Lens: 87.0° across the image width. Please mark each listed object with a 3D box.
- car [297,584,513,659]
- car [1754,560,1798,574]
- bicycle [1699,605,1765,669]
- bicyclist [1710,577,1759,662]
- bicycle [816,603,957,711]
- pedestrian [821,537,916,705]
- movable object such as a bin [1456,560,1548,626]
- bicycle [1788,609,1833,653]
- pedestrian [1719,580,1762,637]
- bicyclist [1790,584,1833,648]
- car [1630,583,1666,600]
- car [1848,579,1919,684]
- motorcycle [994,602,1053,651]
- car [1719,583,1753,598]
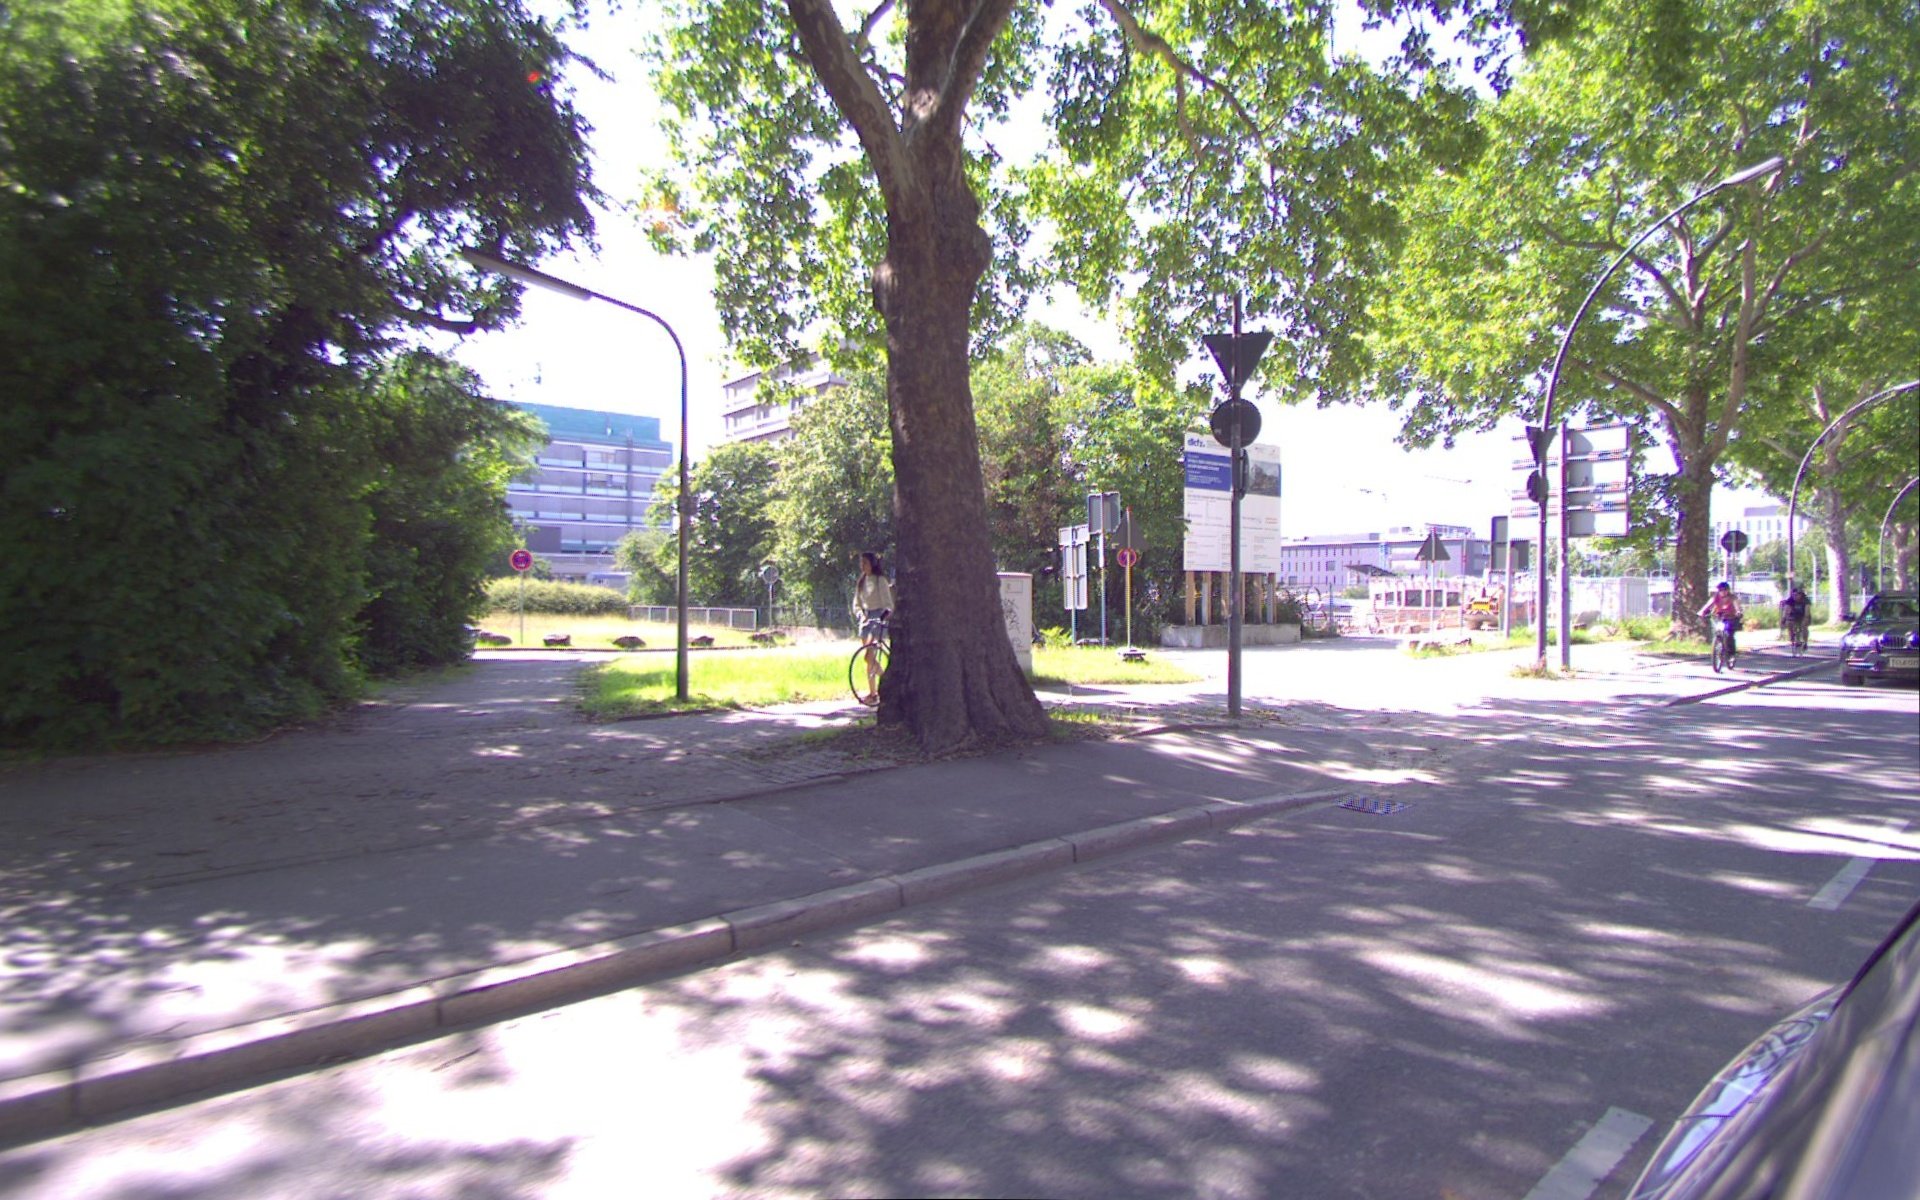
[{"bbox_3d":[-11.585,0.423,21.178,3.943,1.472,1.676,0,0,16],"label":"car"},{"bbox_3d":[101.049,-4.063,125.366,1.779,1.529,3.990,0,0,-43],"label":"car"},{"bbox_3d":[15.157,0.696,19.845,1.912,1.143,0.652,-1,2,-41],"label":"bicycle"},{"bbox_3d":[15.192,0.368,19.853,0.720,1.620,0.621,0,1,-42],"label":"bicyclist"},{"bbox_3d":[-0.778,0.593,11.133,1.669,1.095,0.350,-1,0,-41],"label":"bicycle"},{"bbox_3d":[-1.031,0.224,11.413,0.859,1.808,0.633,0,-1,-41],"label":"pedestrian"},{"bbox_3d":[27.161,-0.343,50.634,5.886,3.111,2.371,0,-1,-44],"label":"movable object such as a bin"},{"bbox_3d":[20.850,0.754,24.791,1.751,0.992,0.598,0,2,-43],"label":"bicycle"},{"bbox_3d":[26.568,0.283,34.455,1.131,1.916,0.940,0,0,-40],"label":"pedestrian"},{"bbox_3d":[20.870,0.372,24.792,1.194,1.508,0.599,0,2,-43],"label":"bicyclist"},{"bbox_3d":[98.365,-1.235,144.692,1.779,2.351,3.990,0,0,-43],"label":"car"},{"bbox_3d":[17.544,0.507,18.109,4.079,1.752,1.922,-1,0,-41],"label":"car"},{"bbox_3d":[1.314,0.541,21.125,1.219,0.980,0.464,0,0,44],"label":"motorcycle"},{"bbox_3d":[121.829,-1.446,158.852,1.779,2.351,3.990,0,0,-43],"label":"car"}]
